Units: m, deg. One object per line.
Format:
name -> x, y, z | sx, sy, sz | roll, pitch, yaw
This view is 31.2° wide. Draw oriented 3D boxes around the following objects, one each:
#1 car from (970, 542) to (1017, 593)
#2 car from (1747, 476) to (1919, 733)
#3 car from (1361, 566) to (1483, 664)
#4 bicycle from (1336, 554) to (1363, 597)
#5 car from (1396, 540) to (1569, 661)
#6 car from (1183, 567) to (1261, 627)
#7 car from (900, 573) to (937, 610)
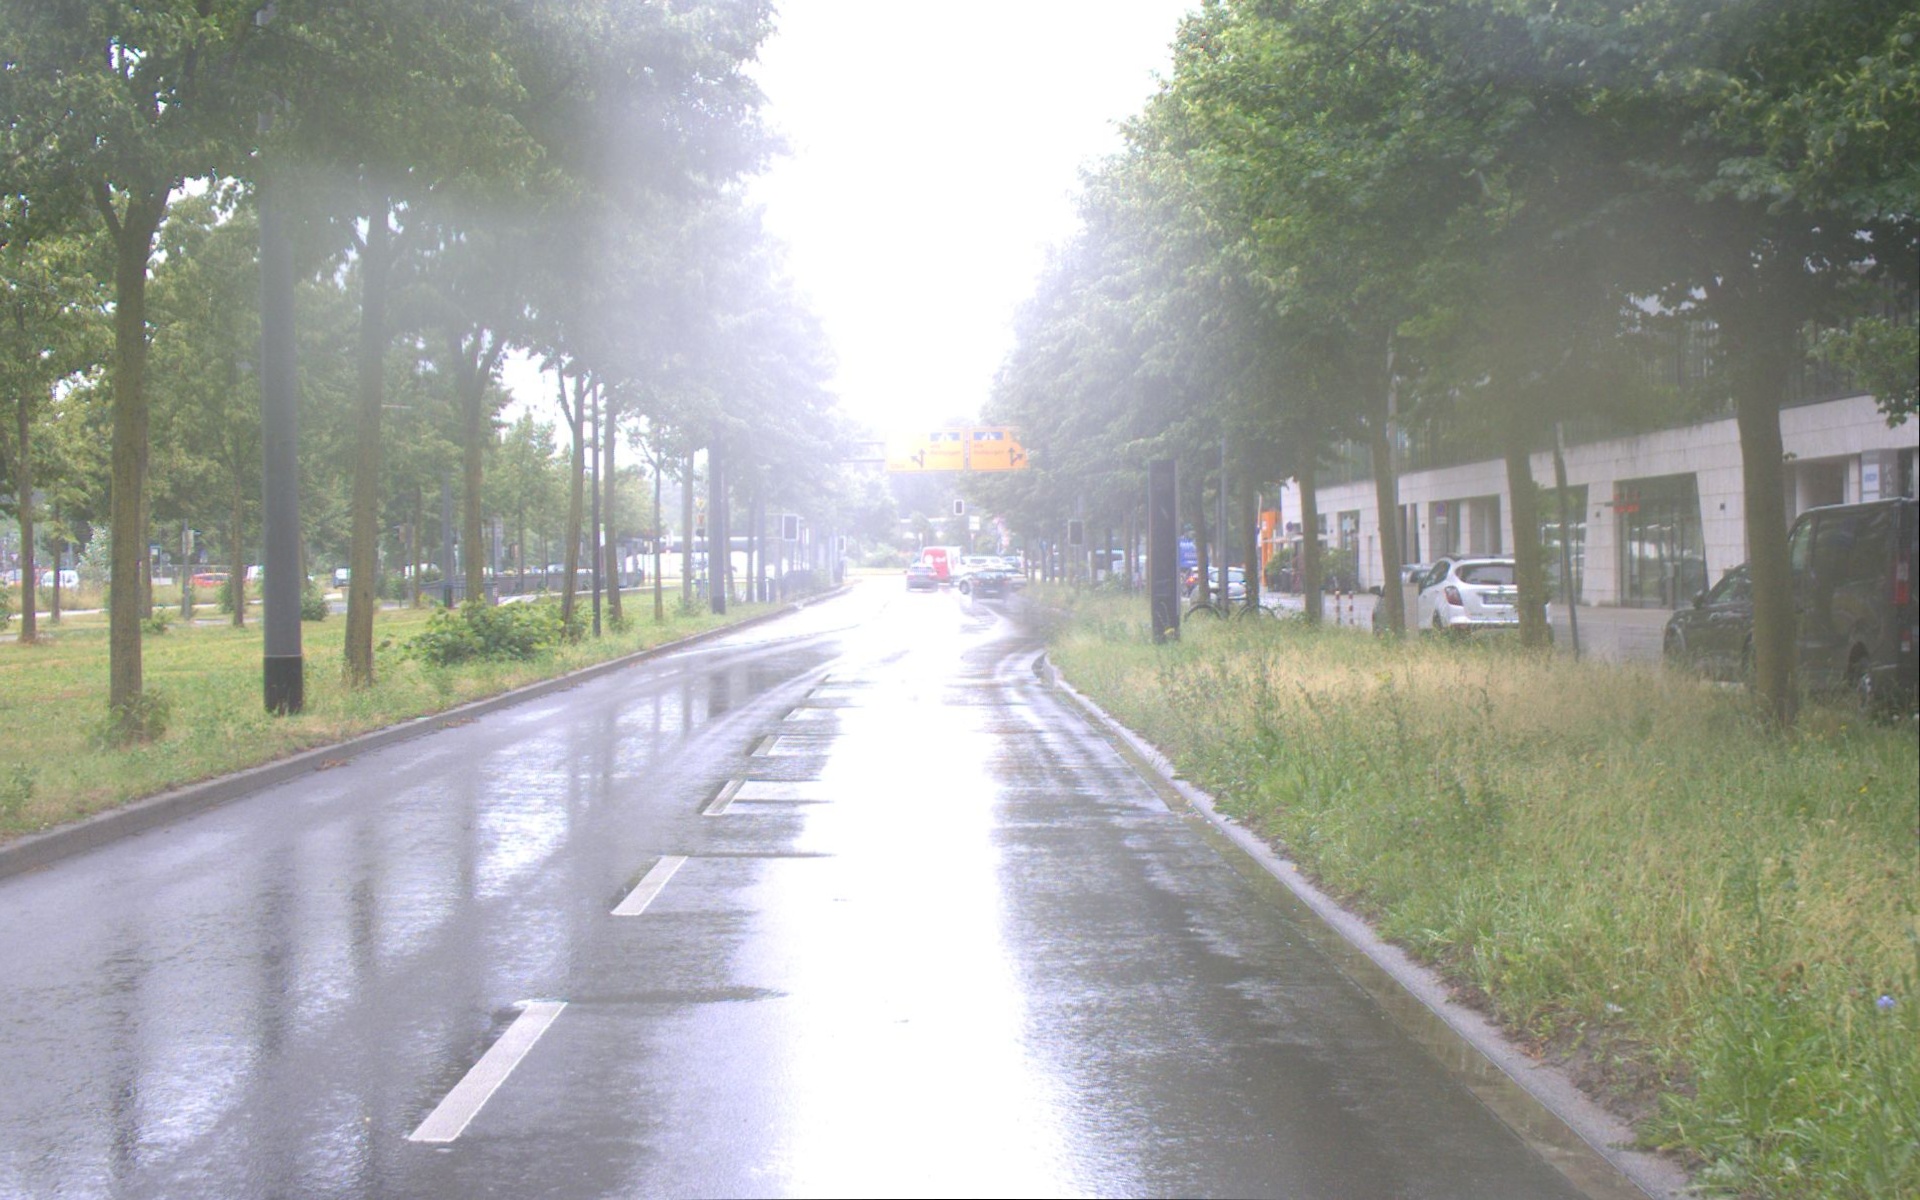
car -> 1.434, -1.408, 148.588 | 1.940, 2.006, 4.001 | -1, 3, 0
car -> 8.377, -0.054, 29.672 | 1.993, 1.945, 5.030 | -1, 3, 0
car -> 8.013, 0.236, 59.844 | 1.625, 1.485, 3.656 | -1, 3, 0
bicycle -> 16.938, -1.070, 149.561 | 0.772, 1.716, 3.121 | -1, 3, -1
car -> 8.221, -0.028, 54.444 | 1.993, 1.663, 4.724 | -1, 3, 0
car -> 7.627, -0.100, 100.287 | 1.881, 1.500, 4.724 | -1, 3, 0
car -> -2.428, -0.517, 201.989 | 1.993, 2.006, 4.000 | -1, 3, 2
